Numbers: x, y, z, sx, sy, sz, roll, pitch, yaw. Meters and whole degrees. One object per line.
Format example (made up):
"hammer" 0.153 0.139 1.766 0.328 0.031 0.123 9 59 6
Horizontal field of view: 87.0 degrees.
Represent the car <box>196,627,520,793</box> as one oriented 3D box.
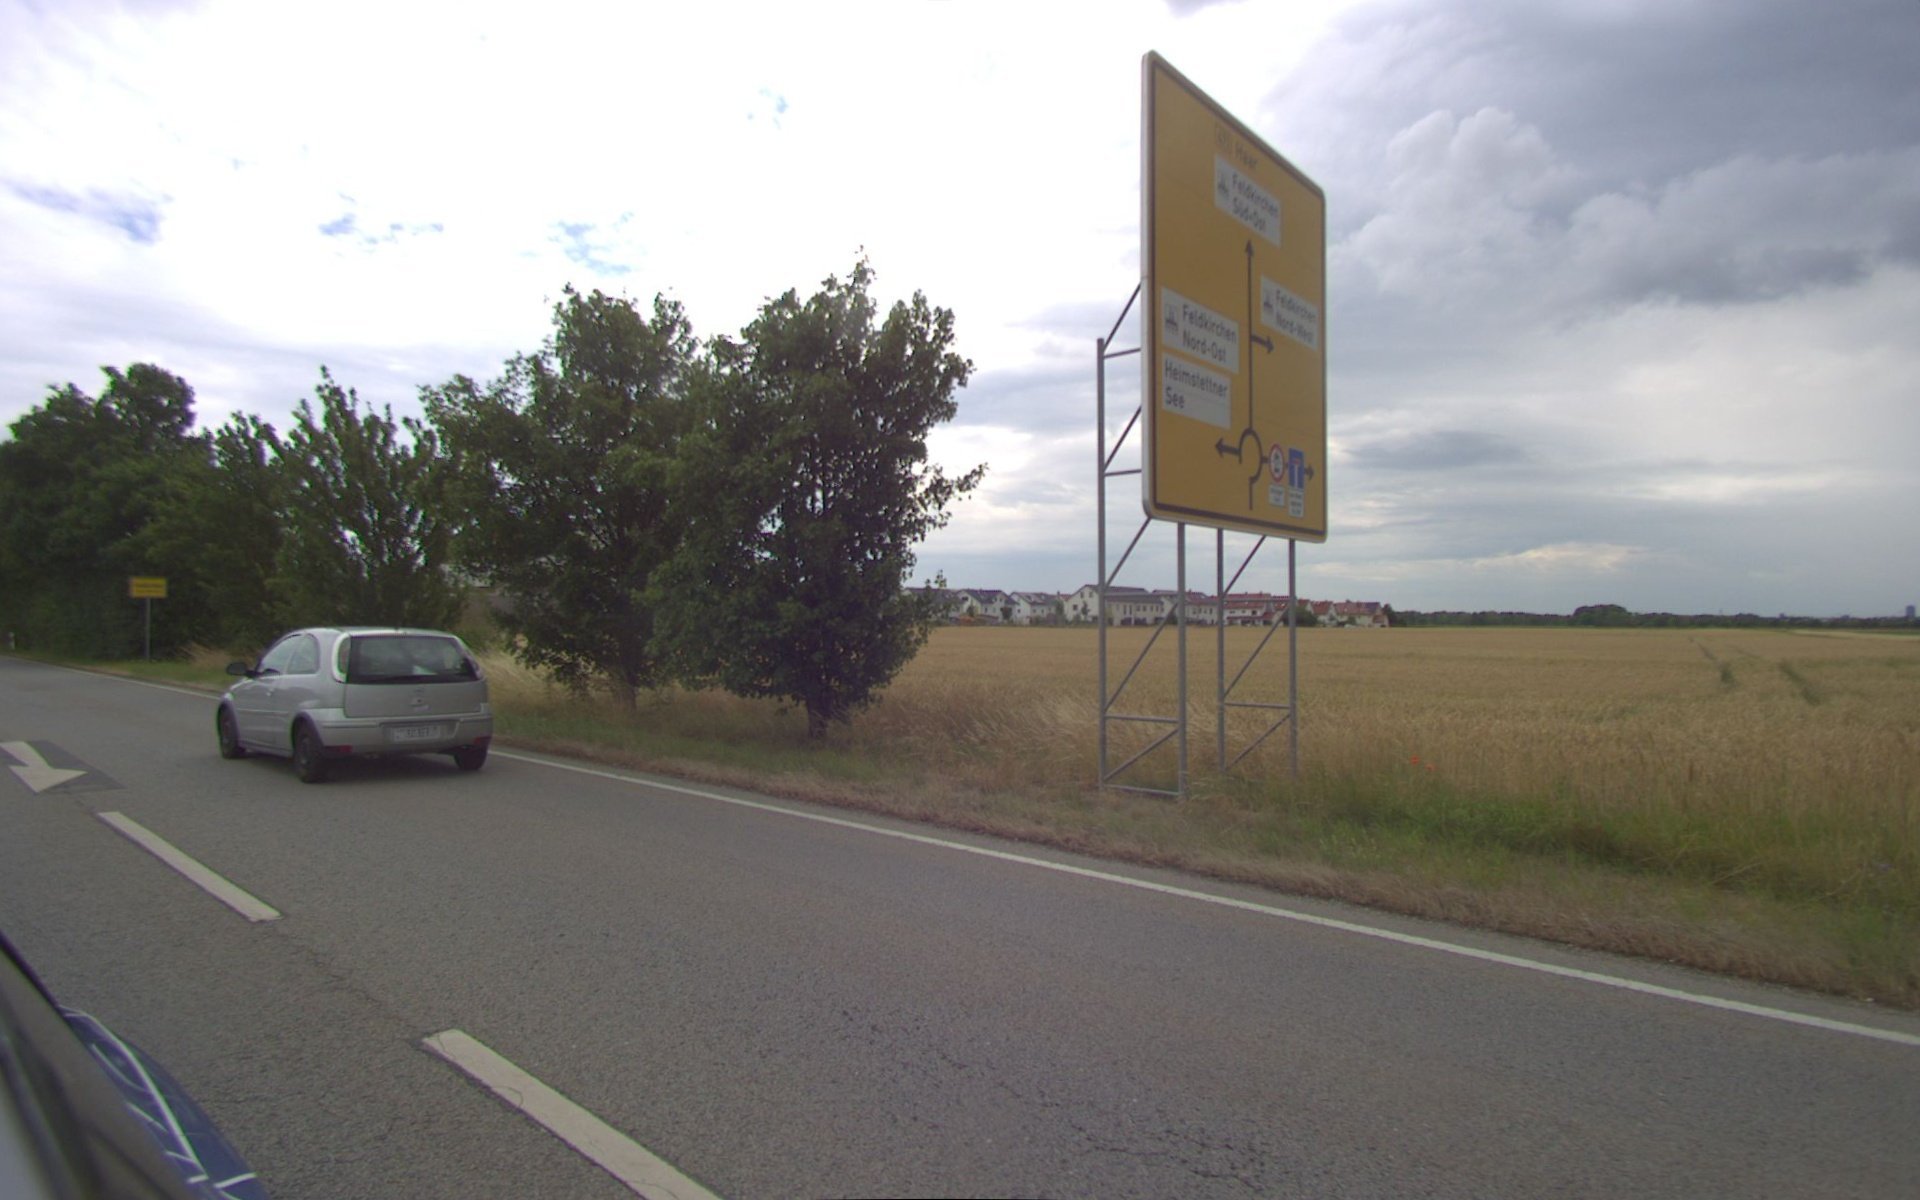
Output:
"car" -6.264 0.967 10.361 3.948 1.374 1.710 -1 -2 41
